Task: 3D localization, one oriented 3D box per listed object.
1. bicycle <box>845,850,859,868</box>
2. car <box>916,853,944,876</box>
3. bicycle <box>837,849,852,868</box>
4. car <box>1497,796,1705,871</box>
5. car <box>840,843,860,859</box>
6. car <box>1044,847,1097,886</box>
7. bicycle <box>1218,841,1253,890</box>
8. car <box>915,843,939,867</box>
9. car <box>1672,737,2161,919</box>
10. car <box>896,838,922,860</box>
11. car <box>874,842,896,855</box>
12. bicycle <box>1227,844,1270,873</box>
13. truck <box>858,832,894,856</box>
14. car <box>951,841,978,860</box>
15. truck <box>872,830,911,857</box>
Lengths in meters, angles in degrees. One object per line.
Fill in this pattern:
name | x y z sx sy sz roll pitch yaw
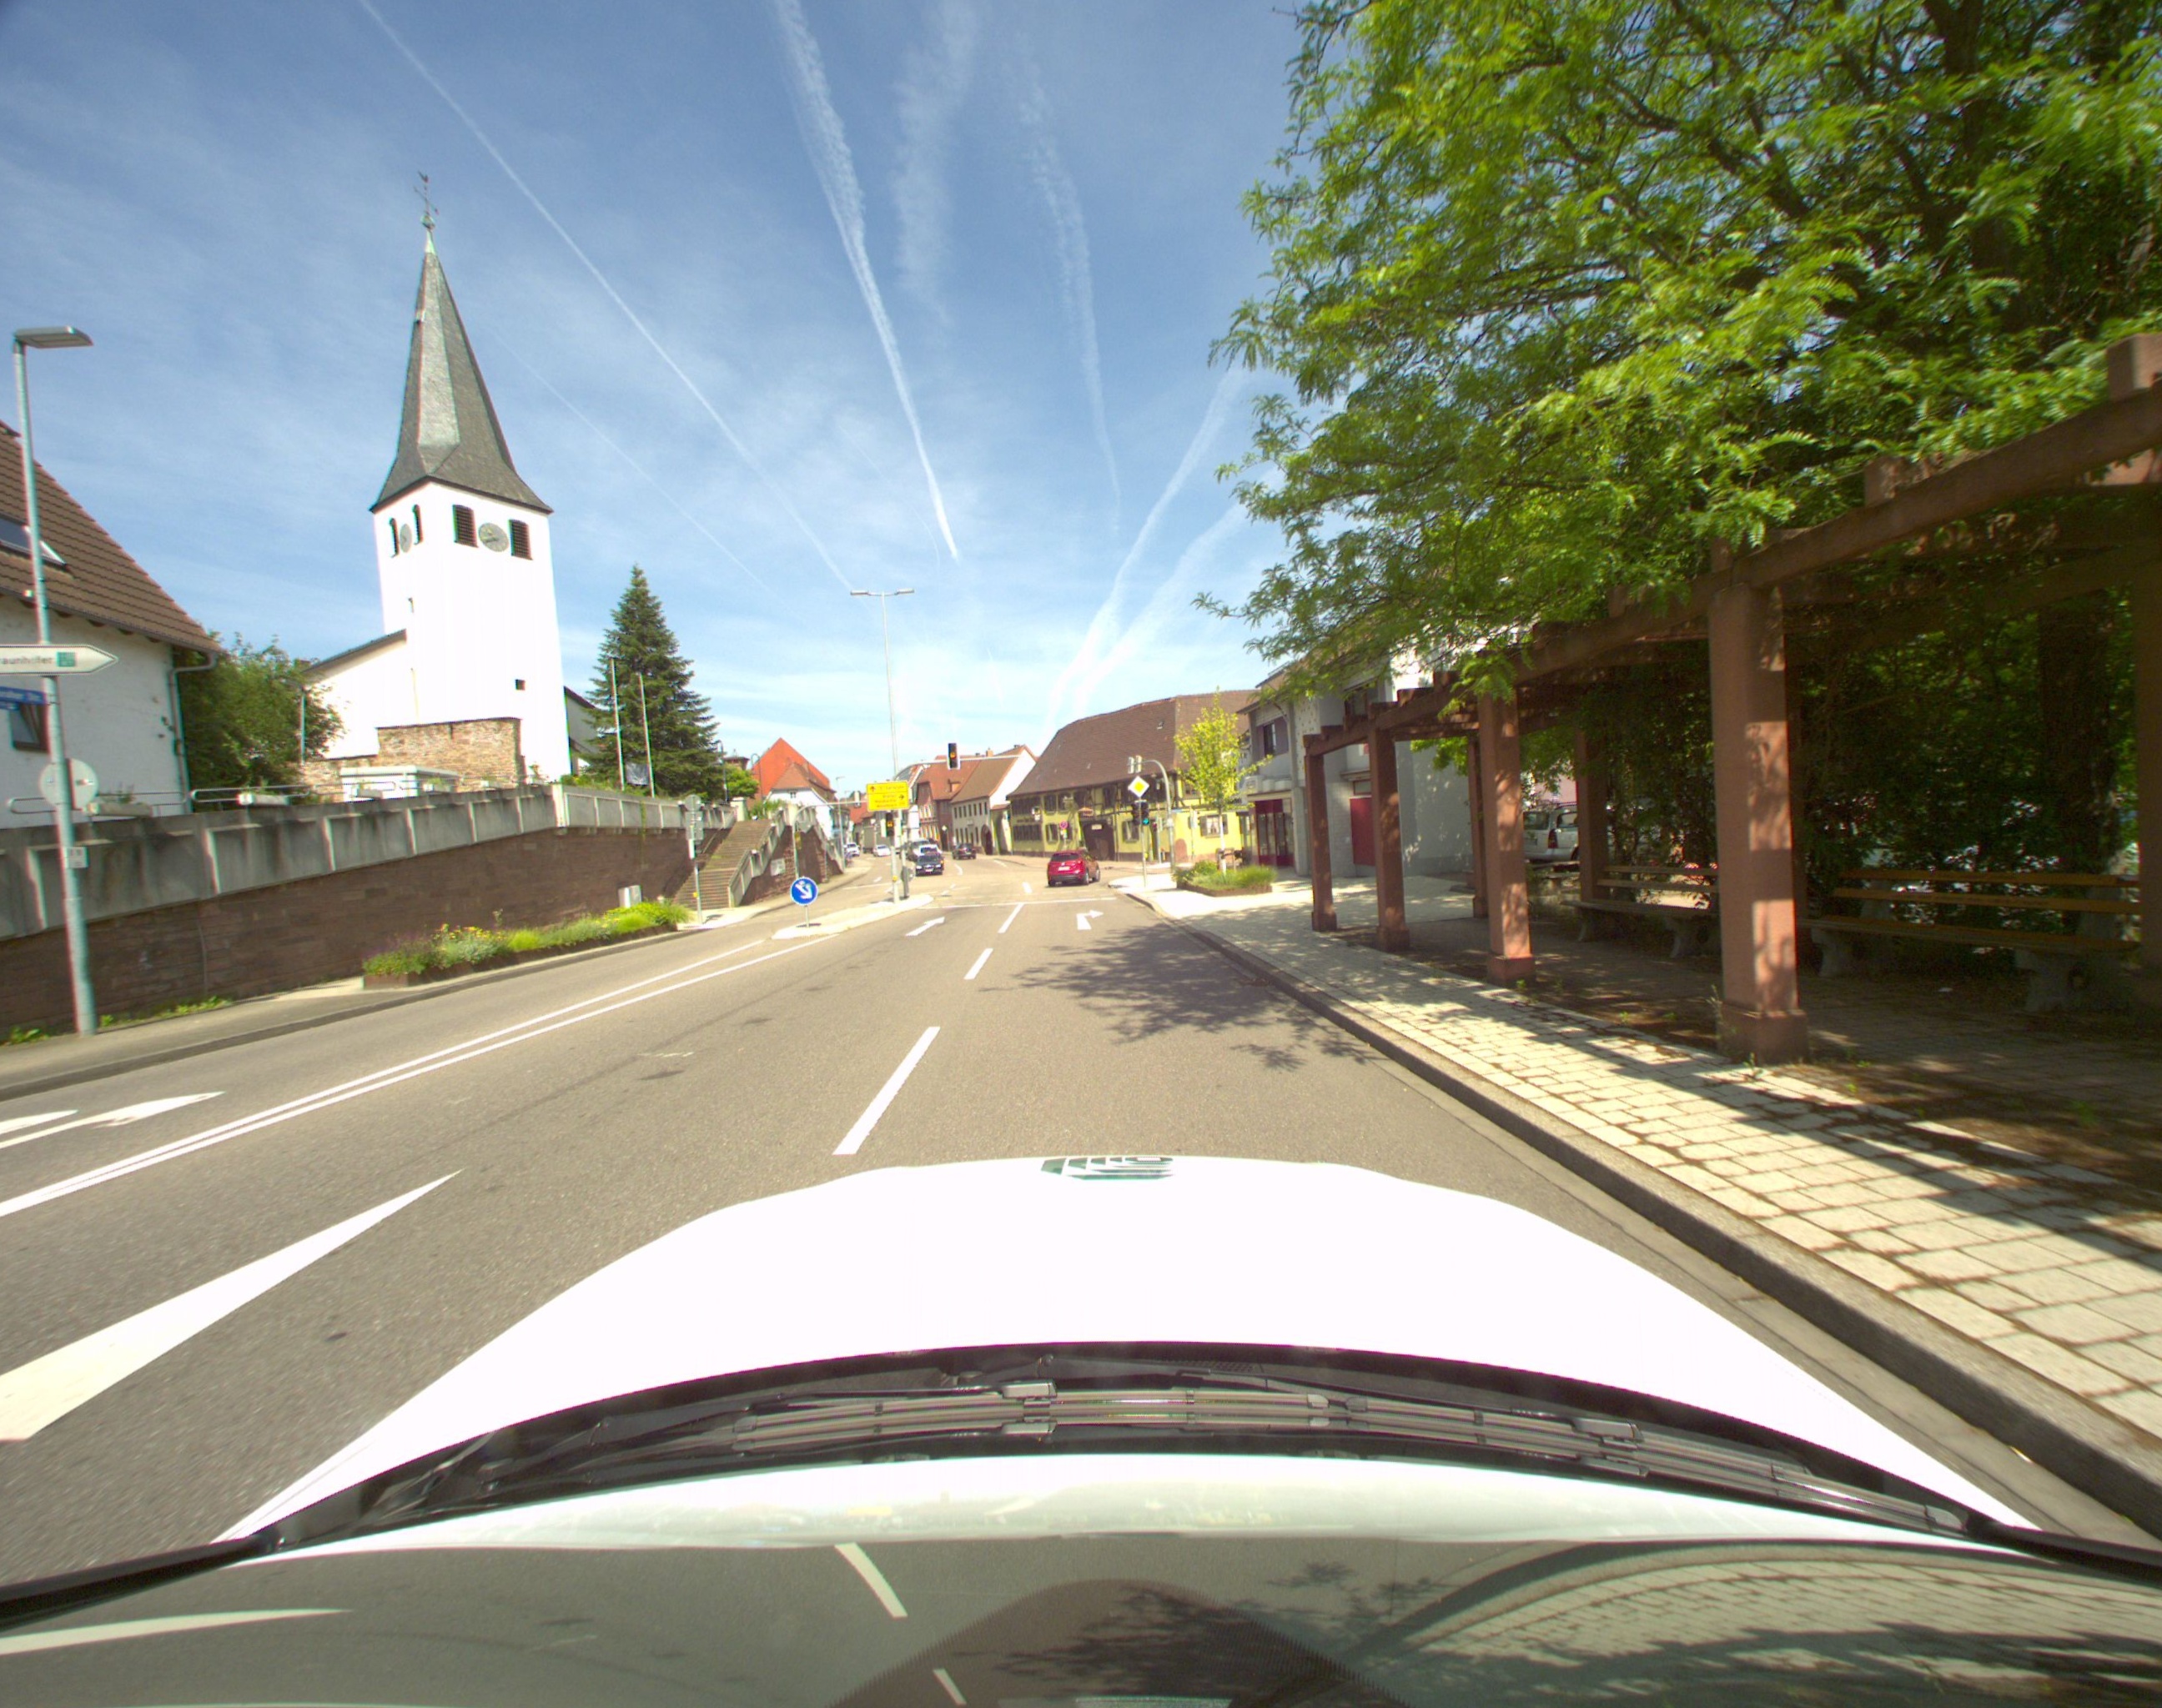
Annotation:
bicycle | -21.957 0.445 78.165 0.556 1.607 2.561 -2 1 -1
car | -10.899 0.722 58.799 1.821 1.434 4.233 -4 2 -11
bicycle | -23.047 0.448 79.313 0.639 1.779 2.669 -2 1 -1
car | 11.872 -0.459 18.748 3.687 1.510 1.724 -2 0 -1
car | -33.080 -0.425 116.520 2.145 1.966 5.241 -5 2 -20
car | -0.431 0.552 38.618 1.794 1.663 3.822 -3 1 9
bicycle | 4.346 0.297 22.966 0.527 1.279 1.993 -7 1 2
car | -13.756 0.029 72.636 1.823 1.906 4.942 -4 2 -13
car | 9.792 -0.309 9.608 4.474 1.544 1.722 -6 0 -5
car | -18.426 -0.594 87.169 1.765 2.245 4.518 -2 1 -23
car | -26.126 -0.687 108.330 1.797 1.526 3.968 -5 2 -29
bicycle | 7.877 0.217 38.321 1.799 1.234 0.549 -4 1 -2
truck | -31.704 -1.523 125.537 3.176 3.460 10.620 -2 0 -26
car | -11.788 -0.366 82.192 1.827 1.738 3.978 -5 2 -20
truck | -27.251 -1.493 116.663 3.241 3.549 9.150 -2 1 -27
